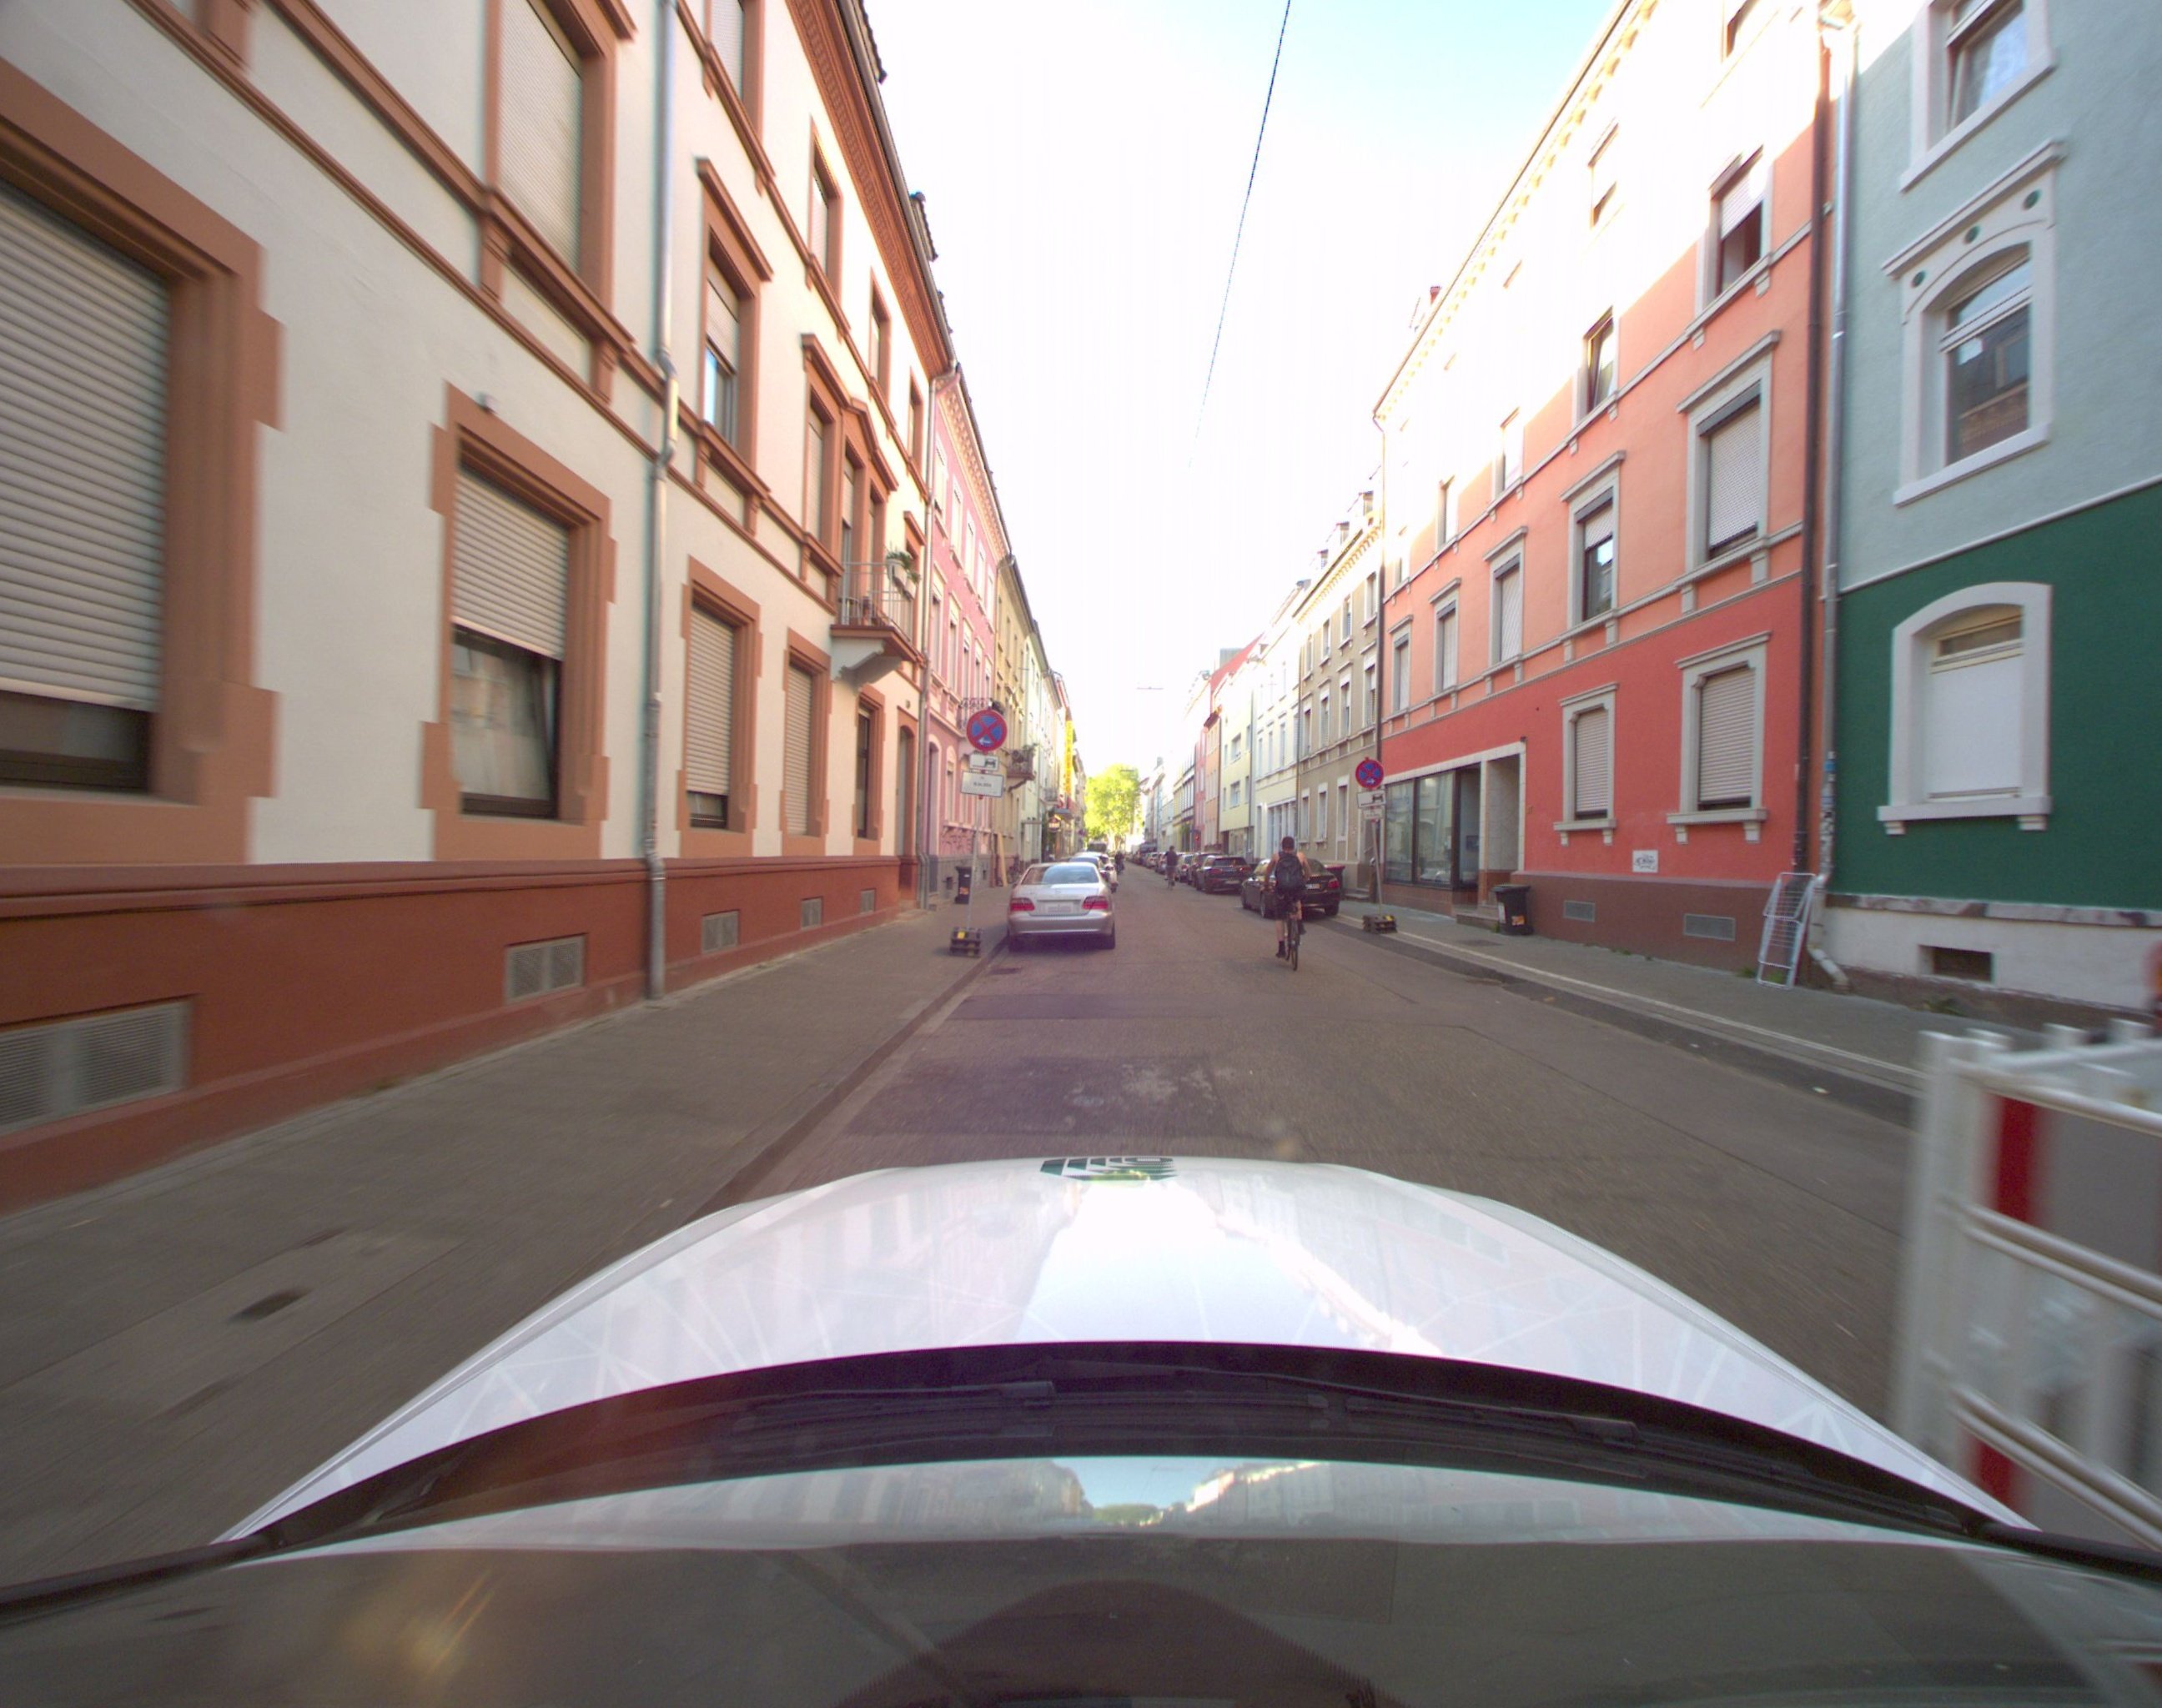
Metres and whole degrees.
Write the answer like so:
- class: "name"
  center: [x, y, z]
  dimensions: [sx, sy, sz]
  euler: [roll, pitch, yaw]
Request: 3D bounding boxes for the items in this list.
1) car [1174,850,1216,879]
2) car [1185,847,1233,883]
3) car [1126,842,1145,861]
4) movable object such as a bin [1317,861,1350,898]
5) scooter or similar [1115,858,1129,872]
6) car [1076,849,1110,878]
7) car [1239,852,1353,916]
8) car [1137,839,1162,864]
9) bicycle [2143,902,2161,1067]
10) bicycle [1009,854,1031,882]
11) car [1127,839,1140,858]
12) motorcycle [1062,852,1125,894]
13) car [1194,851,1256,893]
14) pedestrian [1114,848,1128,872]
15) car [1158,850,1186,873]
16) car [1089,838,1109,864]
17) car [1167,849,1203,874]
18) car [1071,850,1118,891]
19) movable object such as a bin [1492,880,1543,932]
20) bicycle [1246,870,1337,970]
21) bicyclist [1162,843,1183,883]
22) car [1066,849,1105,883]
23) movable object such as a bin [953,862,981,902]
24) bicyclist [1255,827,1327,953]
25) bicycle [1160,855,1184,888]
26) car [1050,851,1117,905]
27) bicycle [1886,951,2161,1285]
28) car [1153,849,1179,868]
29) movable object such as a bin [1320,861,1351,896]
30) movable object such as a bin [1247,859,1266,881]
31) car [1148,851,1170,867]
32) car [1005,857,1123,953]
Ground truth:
- class: "car"
  center: [5.904, 0.523, 42.430]
  dimensions: [1.704, 1.383, 4.001]
  euler: [-1, 0, 1]
- class: "car"
  center: [5.895, 0.507, 37.848]
  dimensions: [1.704, 1.556, 4.001]
  euler: [-1, 0, 1]
- class: "car"
  center: [7.721, -0.334, 115.699]
  dimensions: [2.299, 2.538, 6.772]
  euler: [-1, 0, 1]
- class: "movable object such as a bin"
  center: [7.769, 0.779, 25.046]
  dimensions: [0.735, 1.075, 0.676]
  euler: [-2, 0, -5]
- class: "scooter or similar"
  center: [2.677, 0.741, 53.219]
  dimensions: [0.769, 0.872, 0.769]
  euler: [2, 0, -5]
- class: "car"
  center: [0.661, 0.482, 42.892]
  dimensions: [1.666, 1.442, 3.755]
  euler: [-1, 0, 1]
- class: "car"
  center: [5.466, 0.705, 21.329]
  dimensions: [1.810, 1.438, 4.792]
  euler: [-1, 0, 1]
- class: "car"
  center: [7.561, -0.252, 90.240]
  dimensions: [2.299, 2.538, 6.772]
  euler: [-1, 0, 1]
- class: "bicycle"
  center: [7.719, 0.882, 4.743]
  dimensions: [0.652, 1.128, 1.835]
  euler: [-3, 0, 1]
- class: "bicycle"
  center: [-2.458, 0.558, 32.986]
  dimensions: [0.590, 1.089, 2.080]
  euler: [2, 0, 2]
- class: "car"
  center: [10.425, -1.042, 163.058]
  dimensions: [2.299, 3.768, 6.772]
  euler: [-1, 0, 1]
- class: "motorcycle"
  center: [0.438, 0.654, 28.629]
  dimensions: [2.151, 1.359, 0.537]
  euler: [-2, 1, -17]
- class: "car"
  center: [5.604, 0.667, 32.073]
  dimensions: [1.810, 1.521, 4.001]
  euler: [-1, 0, 1]
- class: "pedestrian"
  center: [2.645, 0.391, 53.710]
  dimensions: [0.769, 1.578, 0.899]
  euler: [2, 0, -5]
- class: "car"
  center: [6.442, 0.520, 57.760]
  dimensions: [1.614, 1.550, 4.001]
  euler: [-1, 0, 1]
- class: "car"
  center: [1.716, -0.279, 78.976]
  dimensions: [1.903, 2.496, 4.164]
  euler: [0, 0, 0]
- class: "car"
  center: [6.077, 0.436, 48.063]
  dimensions: [1.704, 1.383, 4.001]
  euler: [-1, 0, 1]
- class: "car"
  center: [0.553, 0.605, 31.347]
  dimensions: [1.666, 1.442, 4.166]
  euler: [-1, 0, 1]
- class: "movable object such as a bin"
  center: [7.965, 0.942, 14.867]
  dimensions: [0.595, 0.906, 0.579]
  euler: [-2, -1, 0]
- class: "bicycle"
  center: [2.895, 0.856, 11.445]
  dimensions: [0.699, 1.208, 2.343]
  euler: [2, 0, 2]
- class: "bicyclist"
  center: [3.734, 0.354, 33.422]
  dimensions: [0.699, 1.605, 0.813]
  euler: [3, 1, 1]
- class: "car"
  center: [0.243, 0.539, 37.237]
  dimensions: [1.666, 1.442, 3.769]
  euler: [-1, 0, 1]
- class: "movable object such as a bin"
  center: [-2.796, 0.689, 20.013]
  dimensions: [0.541, 0.944, 0.487]
  euler: [2, 0, 2]
- class: "bicyclist"
  center: [2.886, 0.480, 11.276]
  dimensions: [0.699, 1.633, 1.090]
  euler: [2, -1, 2]
- class: "bicycle"
  center: [3.727, 0.708, 33.516]
  dimensions: [0.699, 1.207, 2.343]
  euler: [3, 1, 1]
- class: "car"
  center: [0.160, 0.653, 24.452]
  dimensions: [1.703, 1.383, 4.360]
  euler: [1, 1, 4]
- class: "bicycle"
  center: [4.464, 1.014, 3.318]
  dimensions: [1.847, 1.110, 0.642]
  euler: [2, 0, -6]
- class: "car"
  center: [6.549, 0.356, 62.947]
  dimensions: [1.704, 1.393, 4.001]
  euler: [-1, 0, 1]
- class: "movable object such as a bin"
  center: [8.149, 0.768, 26.121]
  dimensions: [0.803, 1.075, 0.679]
  euler: [-2, 0, 6]
- class: "movable object such as a bin"
  center: [8.708, 0.804, 40.411]
  dimensions: [0.803, 1.075, 0.679]
  euler: [-2, 0, 6]
- class: "car"
  center: [7.088, 0.453, 74.581]
  dimensions: [1.704, 1.447, 4.001]
  euler: [-1, 0, 1]
- class: "car"
  center: [-0.187, 0.763, 14.249]
  dimensions: [1.704, 1.383, 4.507]
  euler: [-1, 0, 1]
